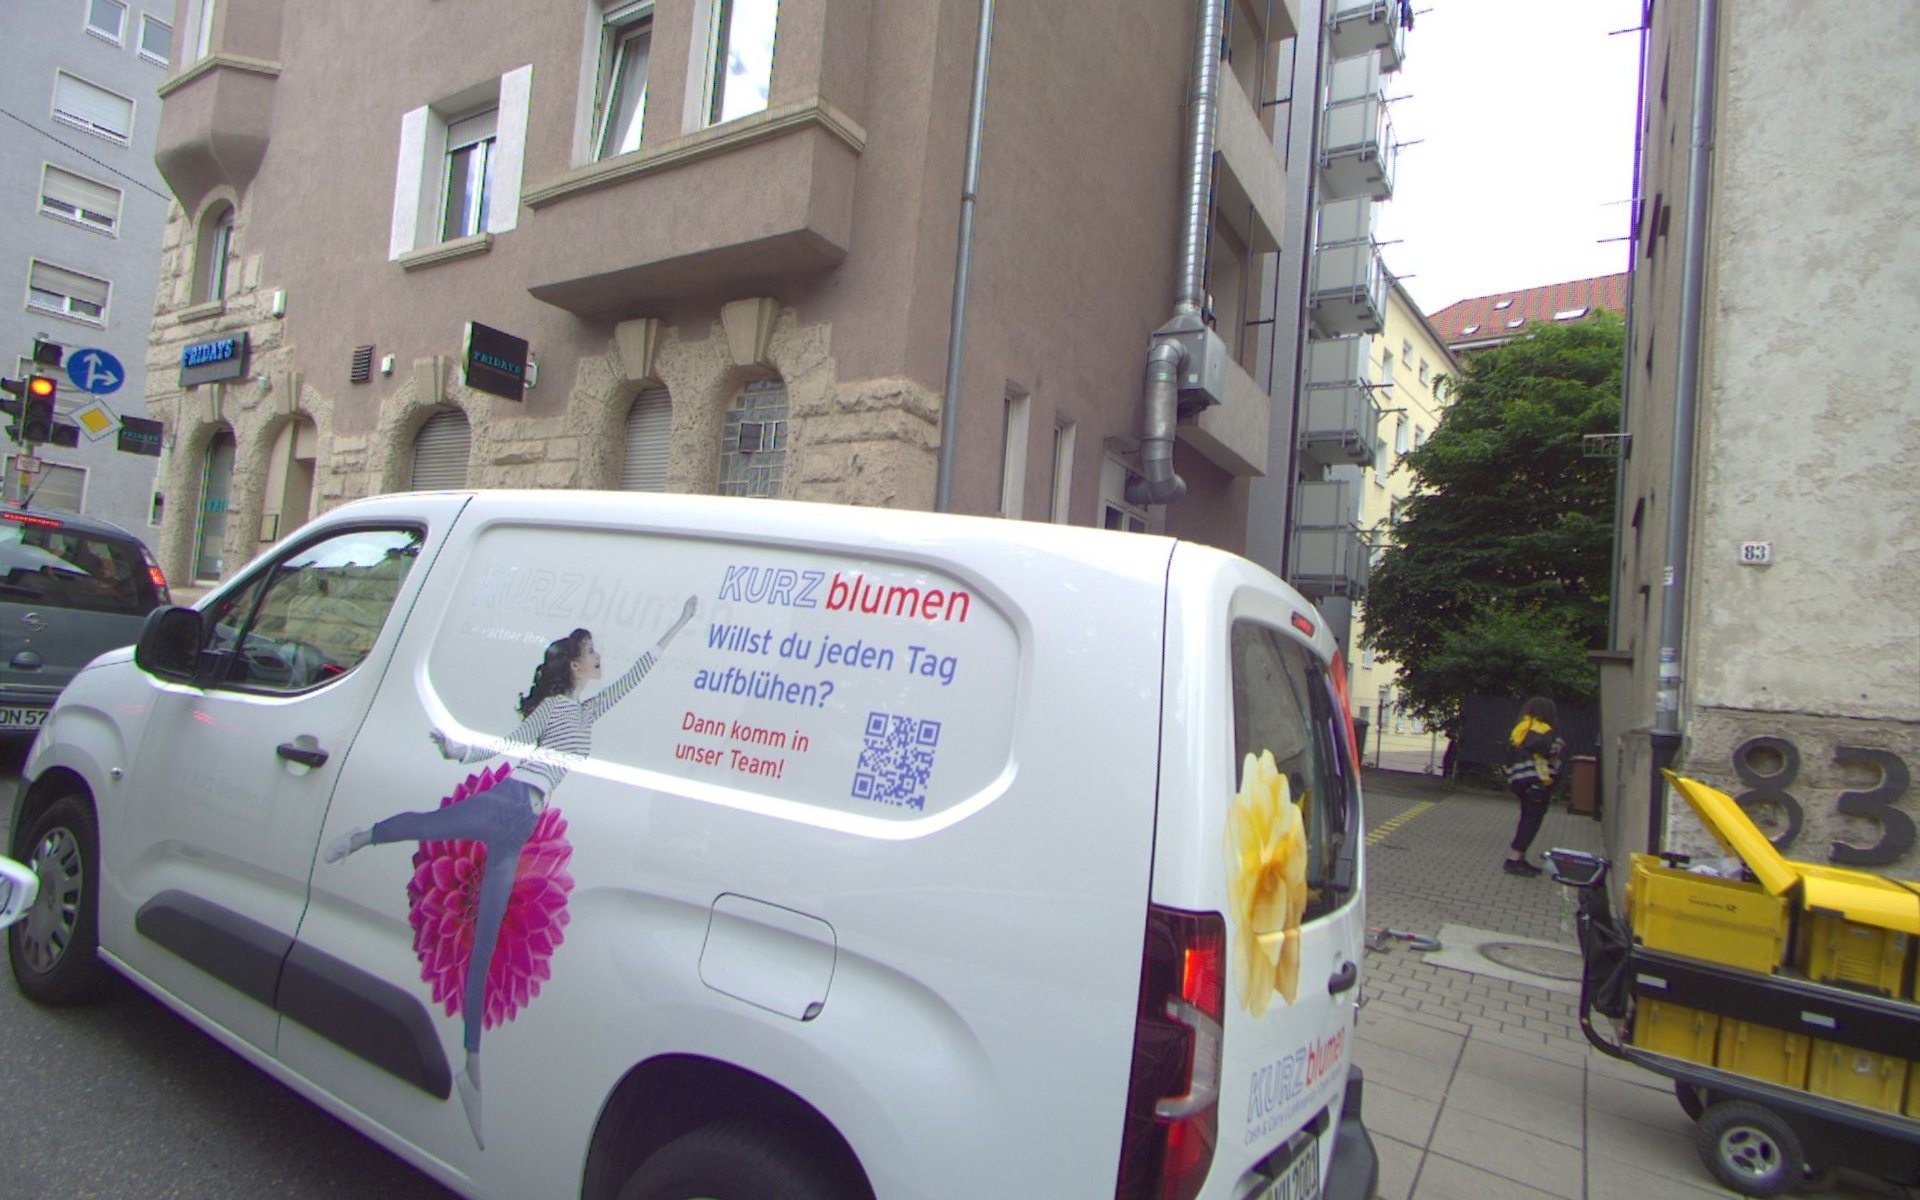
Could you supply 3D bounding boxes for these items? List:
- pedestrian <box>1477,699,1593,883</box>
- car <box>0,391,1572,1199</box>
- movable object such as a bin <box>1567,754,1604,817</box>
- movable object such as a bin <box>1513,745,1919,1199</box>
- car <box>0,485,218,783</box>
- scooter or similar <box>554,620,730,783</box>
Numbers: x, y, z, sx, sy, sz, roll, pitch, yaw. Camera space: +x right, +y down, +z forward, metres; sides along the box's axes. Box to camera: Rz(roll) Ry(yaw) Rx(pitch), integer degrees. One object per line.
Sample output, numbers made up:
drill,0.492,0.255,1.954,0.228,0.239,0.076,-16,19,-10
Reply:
pedestrian,5.620,1.826,9.877,0.769,1.665,0.812,1,-3,14
car,-0.910,0.577,3.153,4.597,1.793,1.983,6,-5,30
movable object such as a bin,9.932,2.938,15.978,0.405,0.922,0.340,6,-1,32
movable object such as a bin,3.388,1.455,3.970,1.979,1.391,1.223,6,0,30
car,-6.711,0.044,6.527,3.608,1.614,1.634,6,-5,32
scooter or similar,-2.655,0.814,8.349,1.400,1.117,0.527,6,-1,34
